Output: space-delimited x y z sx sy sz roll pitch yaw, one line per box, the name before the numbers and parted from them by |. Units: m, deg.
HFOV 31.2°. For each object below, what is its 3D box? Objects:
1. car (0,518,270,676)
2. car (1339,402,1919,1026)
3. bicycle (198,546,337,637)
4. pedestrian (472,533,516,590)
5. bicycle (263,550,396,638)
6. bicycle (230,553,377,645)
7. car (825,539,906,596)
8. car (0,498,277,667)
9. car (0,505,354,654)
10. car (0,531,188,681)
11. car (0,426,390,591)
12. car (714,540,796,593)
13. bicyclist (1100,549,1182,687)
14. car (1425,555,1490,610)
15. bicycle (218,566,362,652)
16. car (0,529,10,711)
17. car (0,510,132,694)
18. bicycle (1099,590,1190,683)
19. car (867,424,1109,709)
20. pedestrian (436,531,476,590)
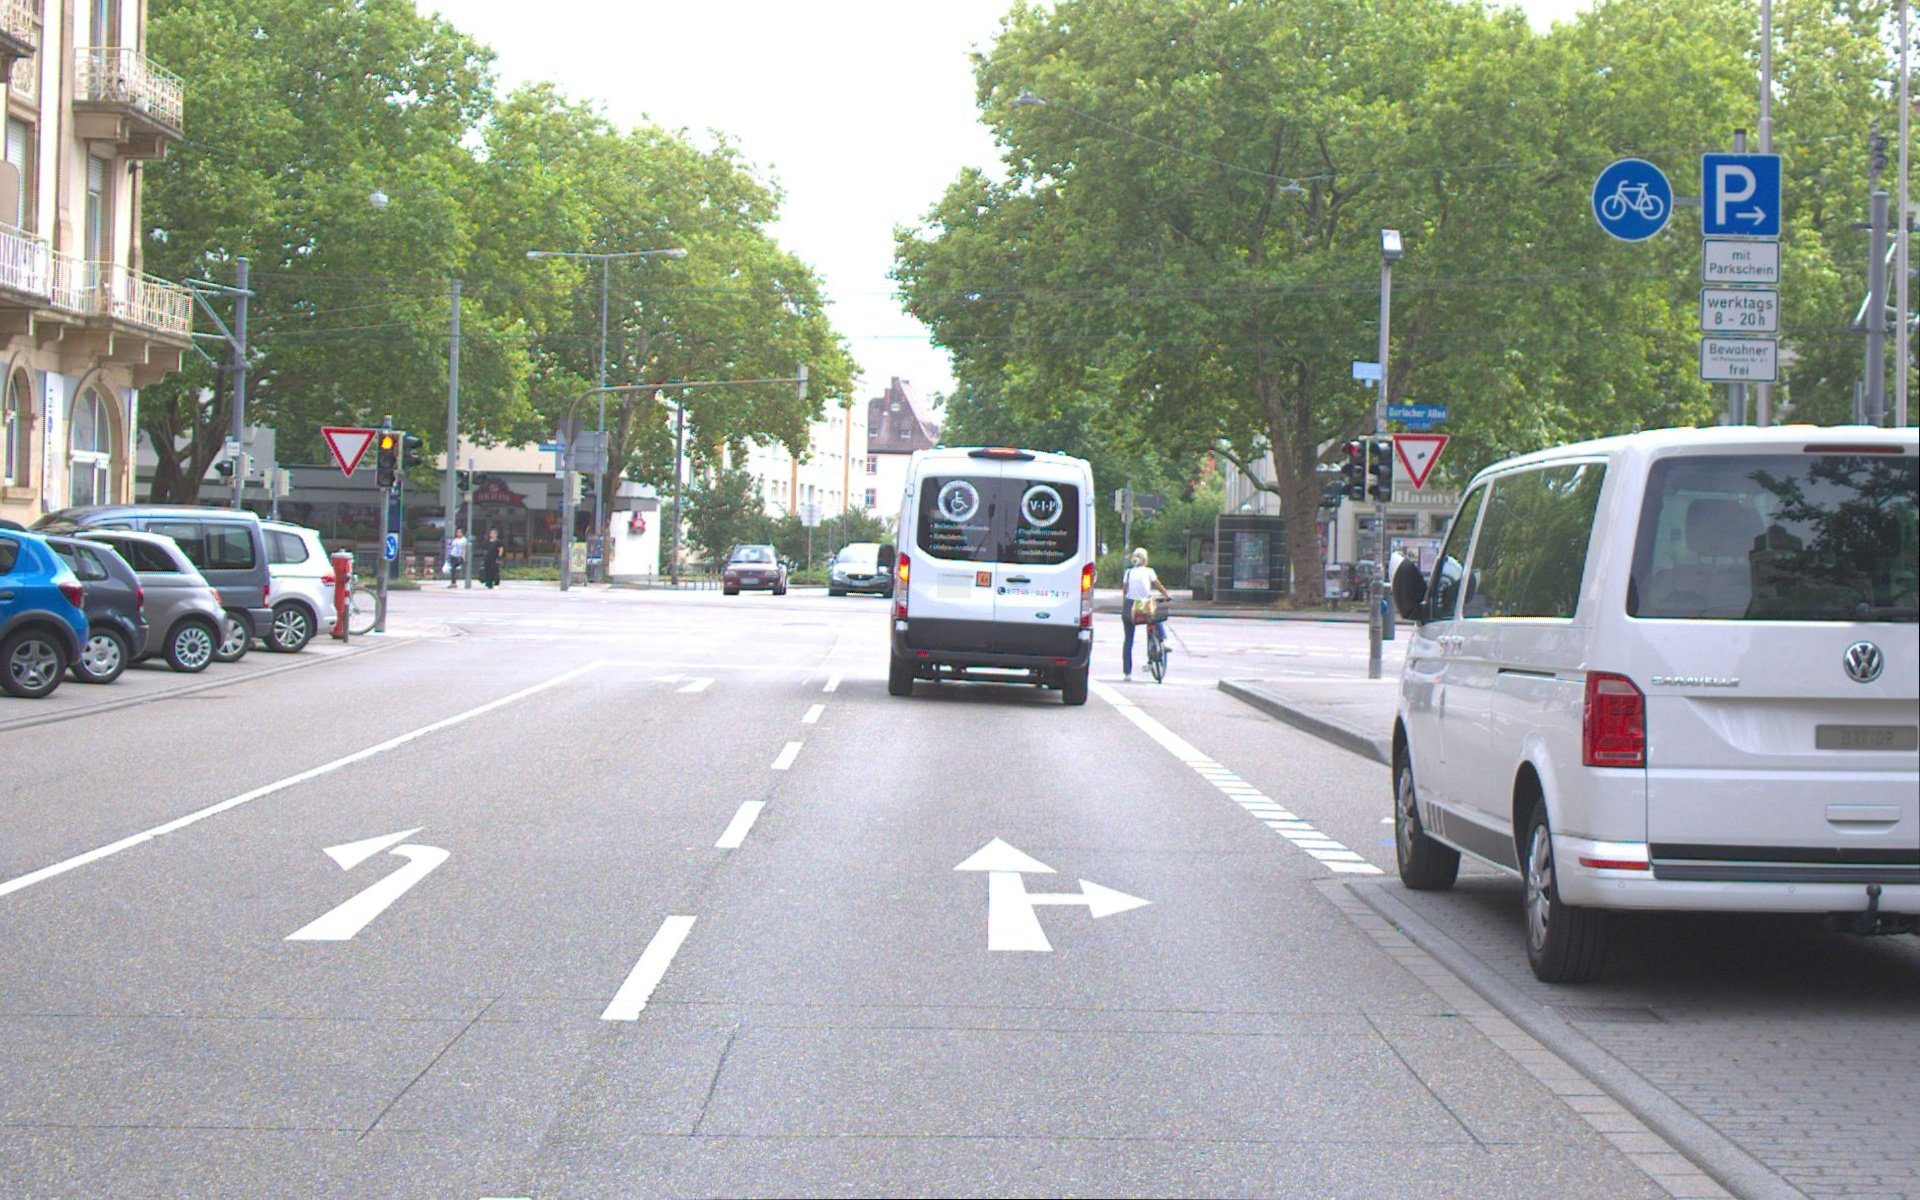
car | -9.690 -0.043 37.087 4.000 1.646 1.796 1 1 -39
car | 2.879 0.304 13.714 2.014 2.022 5.124 0 2 -2
bicycle | -9.664 -0.125 48.036 1.809 1.162 0.594 3 0 -8
pedestrian | -12.618 -1.043 93.096 0.930 1.509 0.723 2 1 14
bicycle | -9.259 -0.090 50.462 1.877 1.163 0.497 4 0 21
bicycle | -9.031 -0.017 47.297 1.809 1.116 0.594 5 1 4
car | -2.704 -0.953 99.155 1.733 1.586 3.999 1 1 7
car | -10.117 -0.205 39.604 4.000 1.872 1.796 1 1 -39
car | -9.809 -0.247 42.986 4.000 1.767 1.796 1 1 -39
car | -9.851 0.035 33.992 3.891 1.438 1.837 1 1 -36
car | -19.509 -2.316 86.506 9.898 3.902 3.451 2 1 25
car | -5.949 -0.986 100.111 1.621 1.471 3.999 1 1 7
bicyclist | 2.260 0.218 42.962 0.903 1.677 0.757 1 1 -3
car | 18.019 -0.639 124.651 1.994 1.924 3.999 1 1 4
bicycle | -9.080 0.112 46.627 1.810 1.116 0.594 1 1 6
car | -9.760 0.117 27.646 3.674 1.476 1.742 1 1 -36
car | -9.618 -0.011 31.042 3.766 1.646 1.724 1 1 -36
bicycle | 2.285 0.442 42.781 0.902 1.071 1.970 1 1 -3
car | 0.213 -0.388 35.673 2.181 2.638 4.629 3 1 -2
pedestrian | -13.656 -1.078 93.183 0.807 1.567 0.723 2 1 14
